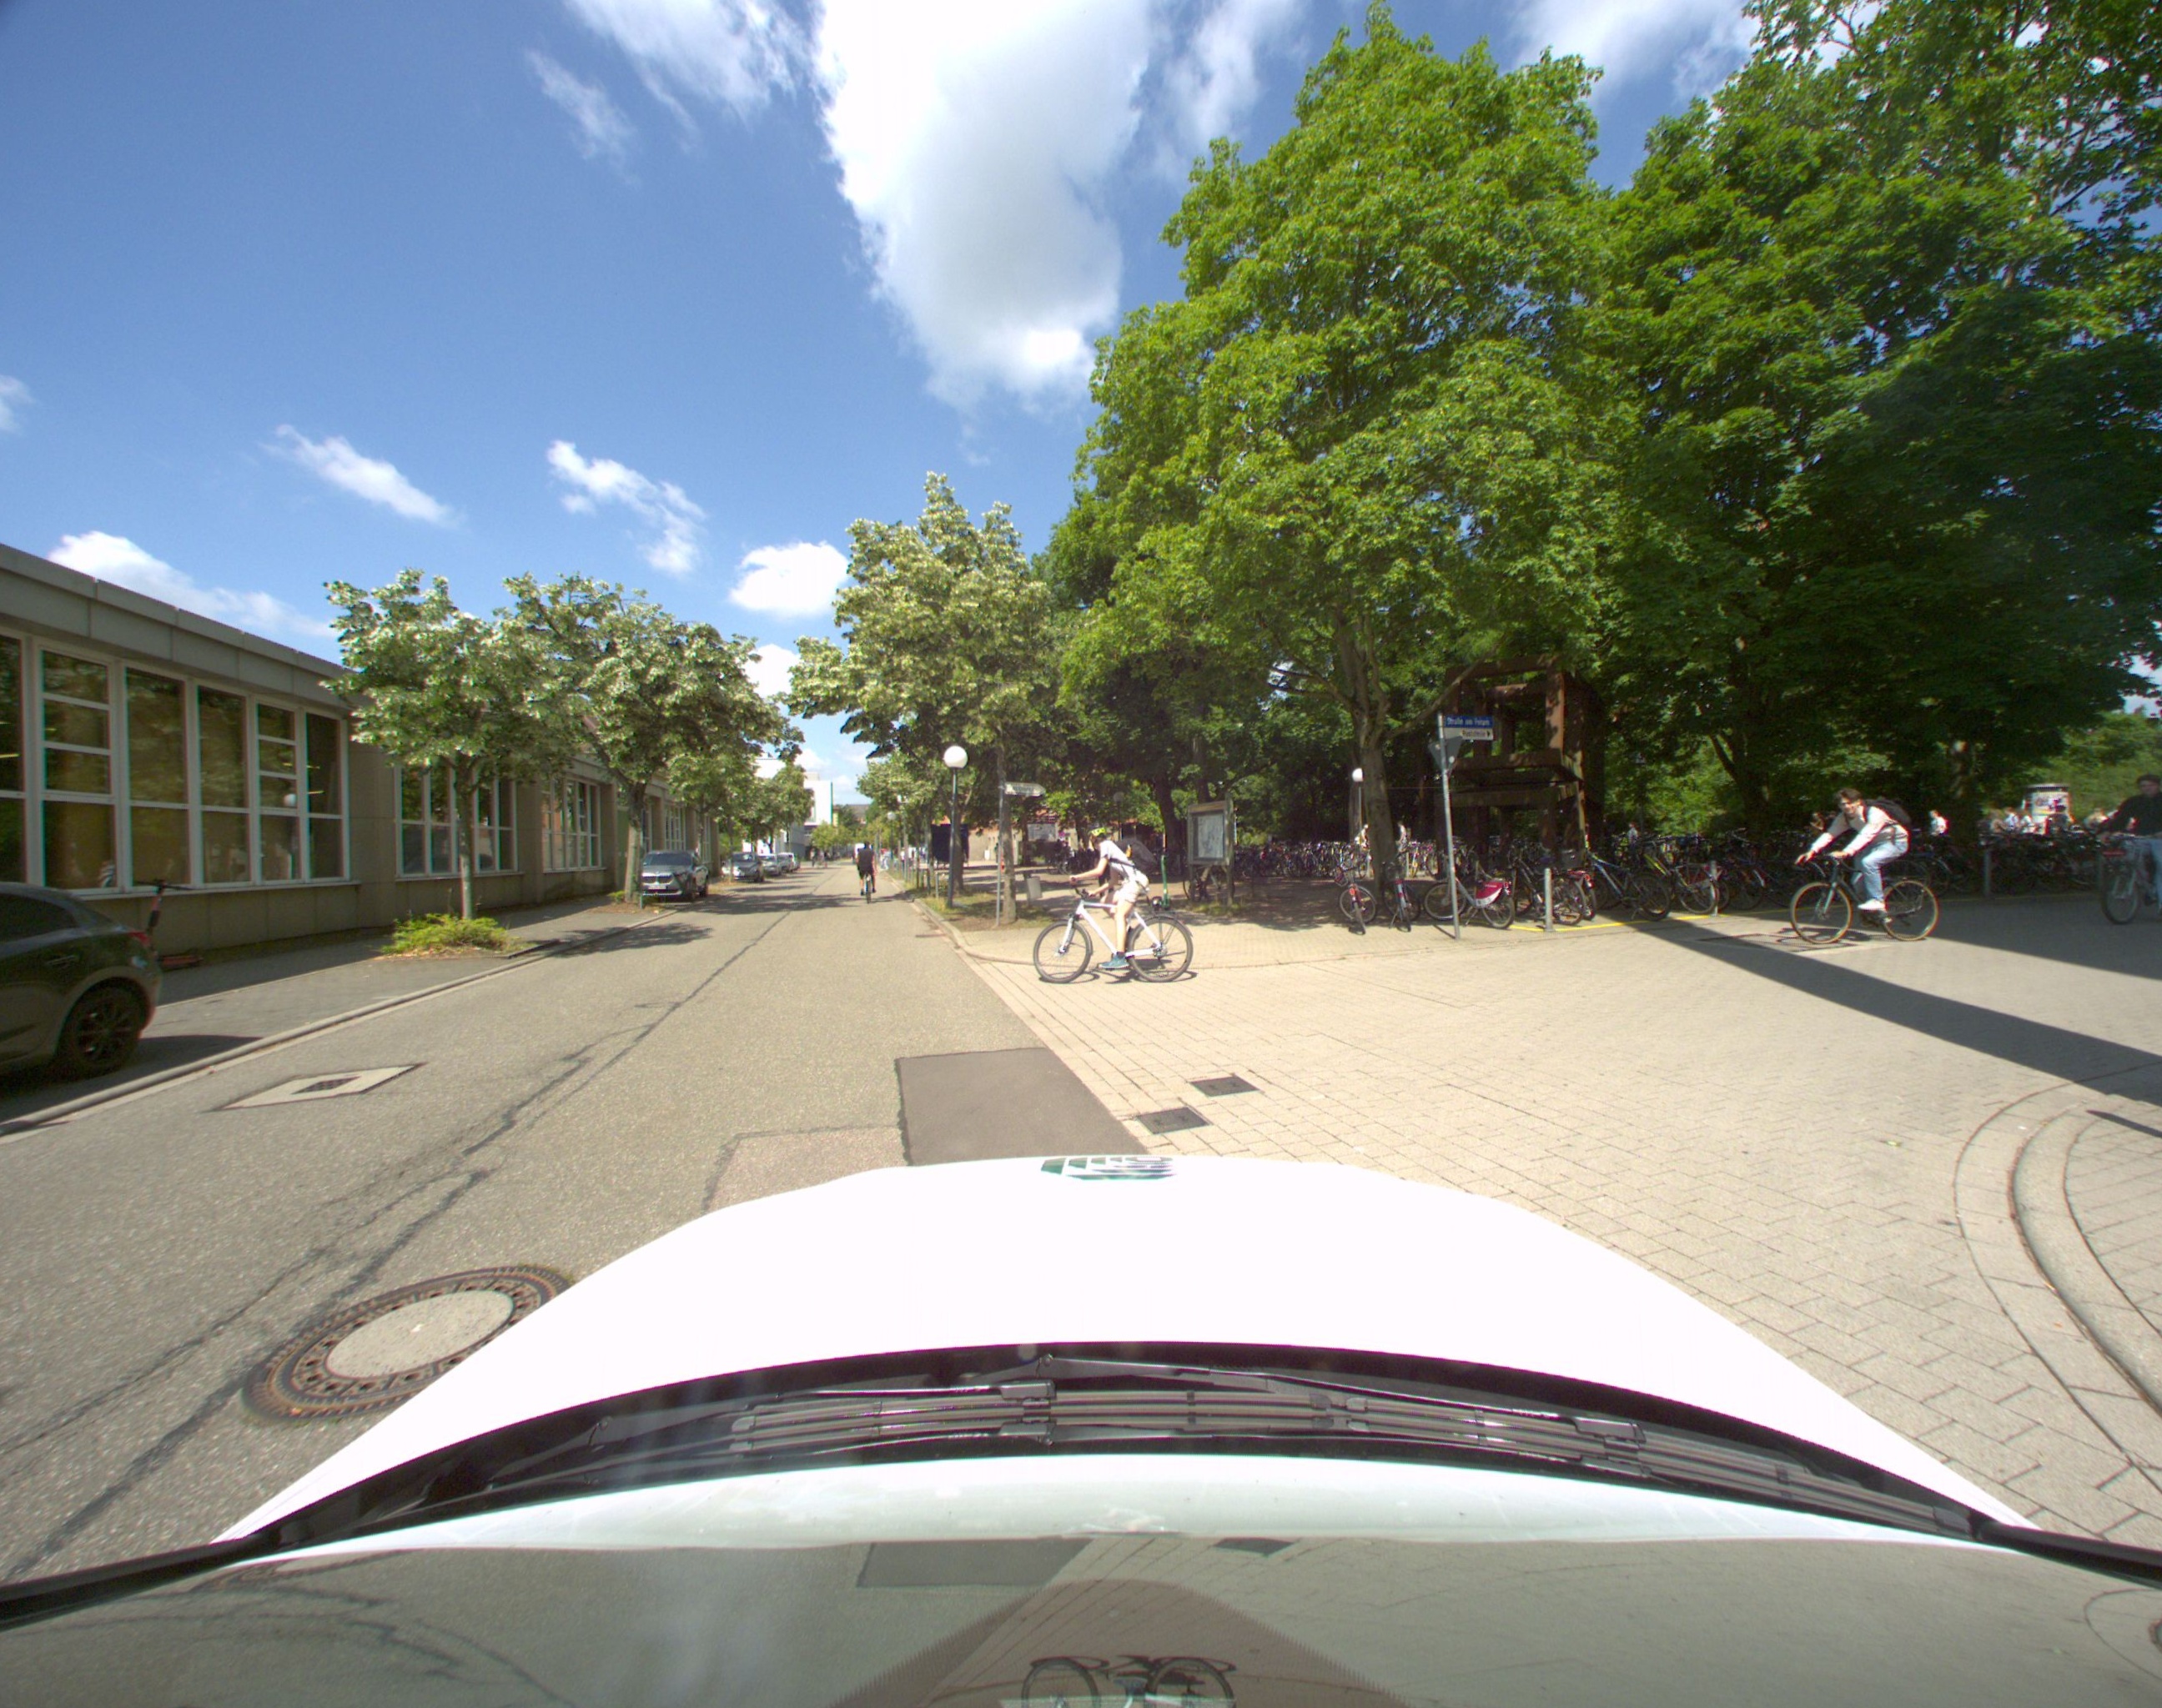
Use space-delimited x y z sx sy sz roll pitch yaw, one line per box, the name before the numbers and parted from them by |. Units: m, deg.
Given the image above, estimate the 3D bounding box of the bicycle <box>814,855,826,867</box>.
bicycle | -24.784 0.662 77.393 0.476 1.083 1.680 -2 2 -38

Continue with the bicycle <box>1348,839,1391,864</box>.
bicycle | 12.708 -0.132 35.862 1.678 1.083 0.608 0 2 42

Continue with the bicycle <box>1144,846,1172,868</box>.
bicycle | 3.987 0.134 42.264 1.709 1.083 0.468 -2 2 -45

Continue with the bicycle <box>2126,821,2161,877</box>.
bicycle | 22.256 -0.096 16.234 0.475 1.145 1.685 -1 1 -27

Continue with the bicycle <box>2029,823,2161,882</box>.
bicycle | 19.990 -0.041 15.994 0.498 1.108 1.725 -1 1 -27

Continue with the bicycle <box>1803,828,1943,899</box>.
bicycle | 13.135 0.128 13.562 0.497 1.108 1.619 -1 1 -20

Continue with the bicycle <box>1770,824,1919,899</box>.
bicycle | 12.626 0.100 13.545 0.497 1.161 1.773 -1 1 -20

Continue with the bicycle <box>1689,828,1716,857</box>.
bicycle | 24.238 -0.452 31.759 0.511 1.110 1.789 0 1 26

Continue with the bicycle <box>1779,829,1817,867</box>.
bicycle | 21.150 -0.202 24.043 0.468 1.083 1.710 0 1 29

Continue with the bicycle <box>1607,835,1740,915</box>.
bicycle | 8.824 0.274 12.212 0.627 1.108 1.624 -1 1 -11

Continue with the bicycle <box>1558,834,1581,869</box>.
bicycle | 16.022 -0.093 26.678 0.468 1.083 1.711 0 2 37

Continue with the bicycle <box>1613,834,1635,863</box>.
bicycle | 21.905 -0.245 32.882 0.511 1.110 1.789 0 1 26

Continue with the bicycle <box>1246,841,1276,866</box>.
bicycle | 8.141 -0.030 36.865 1.709 1.083 0.468 -2 2 -45

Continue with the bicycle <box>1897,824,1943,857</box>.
bicycle | 29.582 -0.487 28.738 0.468 1.110 1.788 0 1 23

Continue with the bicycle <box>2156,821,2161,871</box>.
bicycle | 24.306 -0.166 17.304 0.567 1.108 1.685 -1 1 -26

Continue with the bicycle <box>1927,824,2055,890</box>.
bicycle | 16.523 0.034 14.847 0.494 1.143 1.629 -1 1 -1

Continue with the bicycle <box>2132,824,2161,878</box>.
bicycle | 22.670 -0.054 16.461 0.475 1.108 1.685 -1 1 -27

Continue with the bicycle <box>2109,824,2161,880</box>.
bicycle | 21.749 -0.041 16.105 0.498 1.108 1.685 -1 1 -25

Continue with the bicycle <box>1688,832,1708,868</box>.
bicycle | 18.850 -0.138 24.887 0.468 1.083 1.711 0 2 37

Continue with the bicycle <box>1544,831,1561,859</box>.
bicycle | 19.673 -0.383 33.975 0.511 1.110 1.789 0 1 26

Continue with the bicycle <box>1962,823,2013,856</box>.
bicycle | 31.321 -0.504 28.160 0.468 1.110 1.788 0 1 23

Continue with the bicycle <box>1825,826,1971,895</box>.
bicycle | 14.002 0.090 14.028 0.715 1.108 1.724 -1 1 -4

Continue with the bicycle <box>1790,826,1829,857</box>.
bicycle | 26.916 -0.471 30.109 0.511 1.110 1.788 0 1 23

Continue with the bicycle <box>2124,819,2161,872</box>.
bicycle | 22.956 -0.184 16.824 0.475 1.108 1.685 -1 1 -26

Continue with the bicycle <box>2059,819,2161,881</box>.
bicycle | 20.683 -0.095 16.068 0.496 1.178 1.731 -1 1 -16

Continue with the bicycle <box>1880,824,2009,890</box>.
bicycle | 15.405 0.033 14.593 0.559 1.108 1.629 -1 1 -1

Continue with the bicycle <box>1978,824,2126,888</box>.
bicycle | 18.014 0.017 15.171 0.496 1.108 1.732 -1 1 -15

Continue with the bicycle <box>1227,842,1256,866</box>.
bicycle | 7.426 -0.018 37.652 1.709 1.083 0.468 -2 2 -45

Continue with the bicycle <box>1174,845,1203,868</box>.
bicycle | 5.310 0.102 40.064 1.709 1.083 0.468 -2 2 -45

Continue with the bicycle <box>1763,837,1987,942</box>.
bicycle | 8.957 0.388 9.249 1.803 1.108 0.642 -1 2 7

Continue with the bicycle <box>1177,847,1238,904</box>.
bicycle | 2.655 0.421 17.245 0.393 1.108 1.826 -1 1 -21

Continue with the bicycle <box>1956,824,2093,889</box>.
bicycle | 17.186 0.026 14.895 0.570 1.108 1.743 -1 1 4

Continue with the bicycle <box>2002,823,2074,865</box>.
bicycle | 25.539 -0.283 21.770 0.468 1.083 1.708 0 1 20

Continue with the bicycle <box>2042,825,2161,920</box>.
bicycle | 13.524 0.212 10.335 1.874 1.140 0.675 -1 2 -1

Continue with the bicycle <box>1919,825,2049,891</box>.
bicycle | 15.990 0.049 14.477 0.494 1.108 1.629 -1 1 -1

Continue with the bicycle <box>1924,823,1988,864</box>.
bicycle | 24.038 -0.307 22.400 0.468 1.083 1.708 0 1 20

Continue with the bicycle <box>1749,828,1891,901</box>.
bicycle | 12.030 0.142 13.321 0.645 1.108 1.619 -1 1 -20

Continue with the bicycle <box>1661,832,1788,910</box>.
bicycle | 9.880 0.226 12.581 0.495 1.108 1.624 -1 1 -10

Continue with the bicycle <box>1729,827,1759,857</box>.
bicycle | 25.179 -0.457 30.943 0.511 1.110 1.789 0 1 26

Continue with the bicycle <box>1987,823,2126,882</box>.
bicycle | 19.106 -0.045 15.999 0.499 1.108 1.721 -2 2 -39

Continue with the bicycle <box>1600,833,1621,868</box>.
bicycle | 17.158 -0.116 26.379 0.468 1.083 1.711 0 2 37

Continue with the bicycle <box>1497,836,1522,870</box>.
bicycle | 14.556 -0.055 27.620 0.468 1.083 1.871 0 2 37

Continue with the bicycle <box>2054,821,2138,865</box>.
bicycle | 26.445 -0.293 21.258 0.469 1.083 1.707 0 1 16

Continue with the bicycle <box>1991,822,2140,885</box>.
bicycle | 18.585 -0.028 15.429 0.497 1.126 1.729 -1 1 -20

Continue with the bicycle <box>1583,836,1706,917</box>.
bicycle | 8.285 0.291 12.053 0.495 1.108 1.624 -1 1 -10

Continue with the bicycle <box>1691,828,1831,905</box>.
bicycle | 10.581 0.162 12.742 0.689 1.108 1.624 -1 1 -10

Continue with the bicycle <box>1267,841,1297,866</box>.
bicycle | 8.967 -0.041 36.365 1.709 1.083 0.468 -2 2 -45

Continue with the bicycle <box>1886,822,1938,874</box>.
bicycle | 20.074 -0.157 19.695 0.568 1.199 1.711 0 1 35

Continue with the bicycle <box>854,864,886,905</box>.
bicycle | -6.302 0.876 24.237 0.670 1.108 2.058 -3 1 -21

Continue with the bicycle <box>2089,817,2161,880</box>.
bicycle | 21.271 -0.109 16.035 0.497 1.235 1.728 -1 1 -22

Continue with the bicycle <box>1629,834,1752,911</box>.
bicycle | 9.325 0.249 12.539 0.504 1.108 1.624 -1 1 -10

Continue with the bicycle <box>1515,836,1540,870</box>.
bicycle | 14.913 -0.056 27.178 0.468 1.083 1.871 0 2 37

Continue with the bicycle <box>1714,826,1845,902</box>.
bicycle | 11.267 0.134 13.204 0.496 1.150 1.622 -1 1 -15

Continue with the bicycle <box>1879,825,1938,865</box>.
bicycle | 22.961 -0.261 22.637 0.468 1.083 1.708 0 1 20

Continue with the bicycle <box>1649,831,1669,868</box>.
bicycle | 17.909 -0.148 25.206 0.468 1.083 1.711 0 2 37

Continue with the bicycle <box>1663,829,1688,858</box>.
bicycle | 23.561 -0.426 32.276 0.511 1.110 1.789 0 1 26

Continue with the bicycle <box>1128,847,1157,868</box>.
bicycle | 3.251 0.177 42.945 1.709 1.083 0.468 -2 2 -45

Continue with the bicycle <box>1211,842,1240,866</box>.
bicycle | 6.855 -0.007 38.528 1.709 1.083 0.468 -2 2 -45
